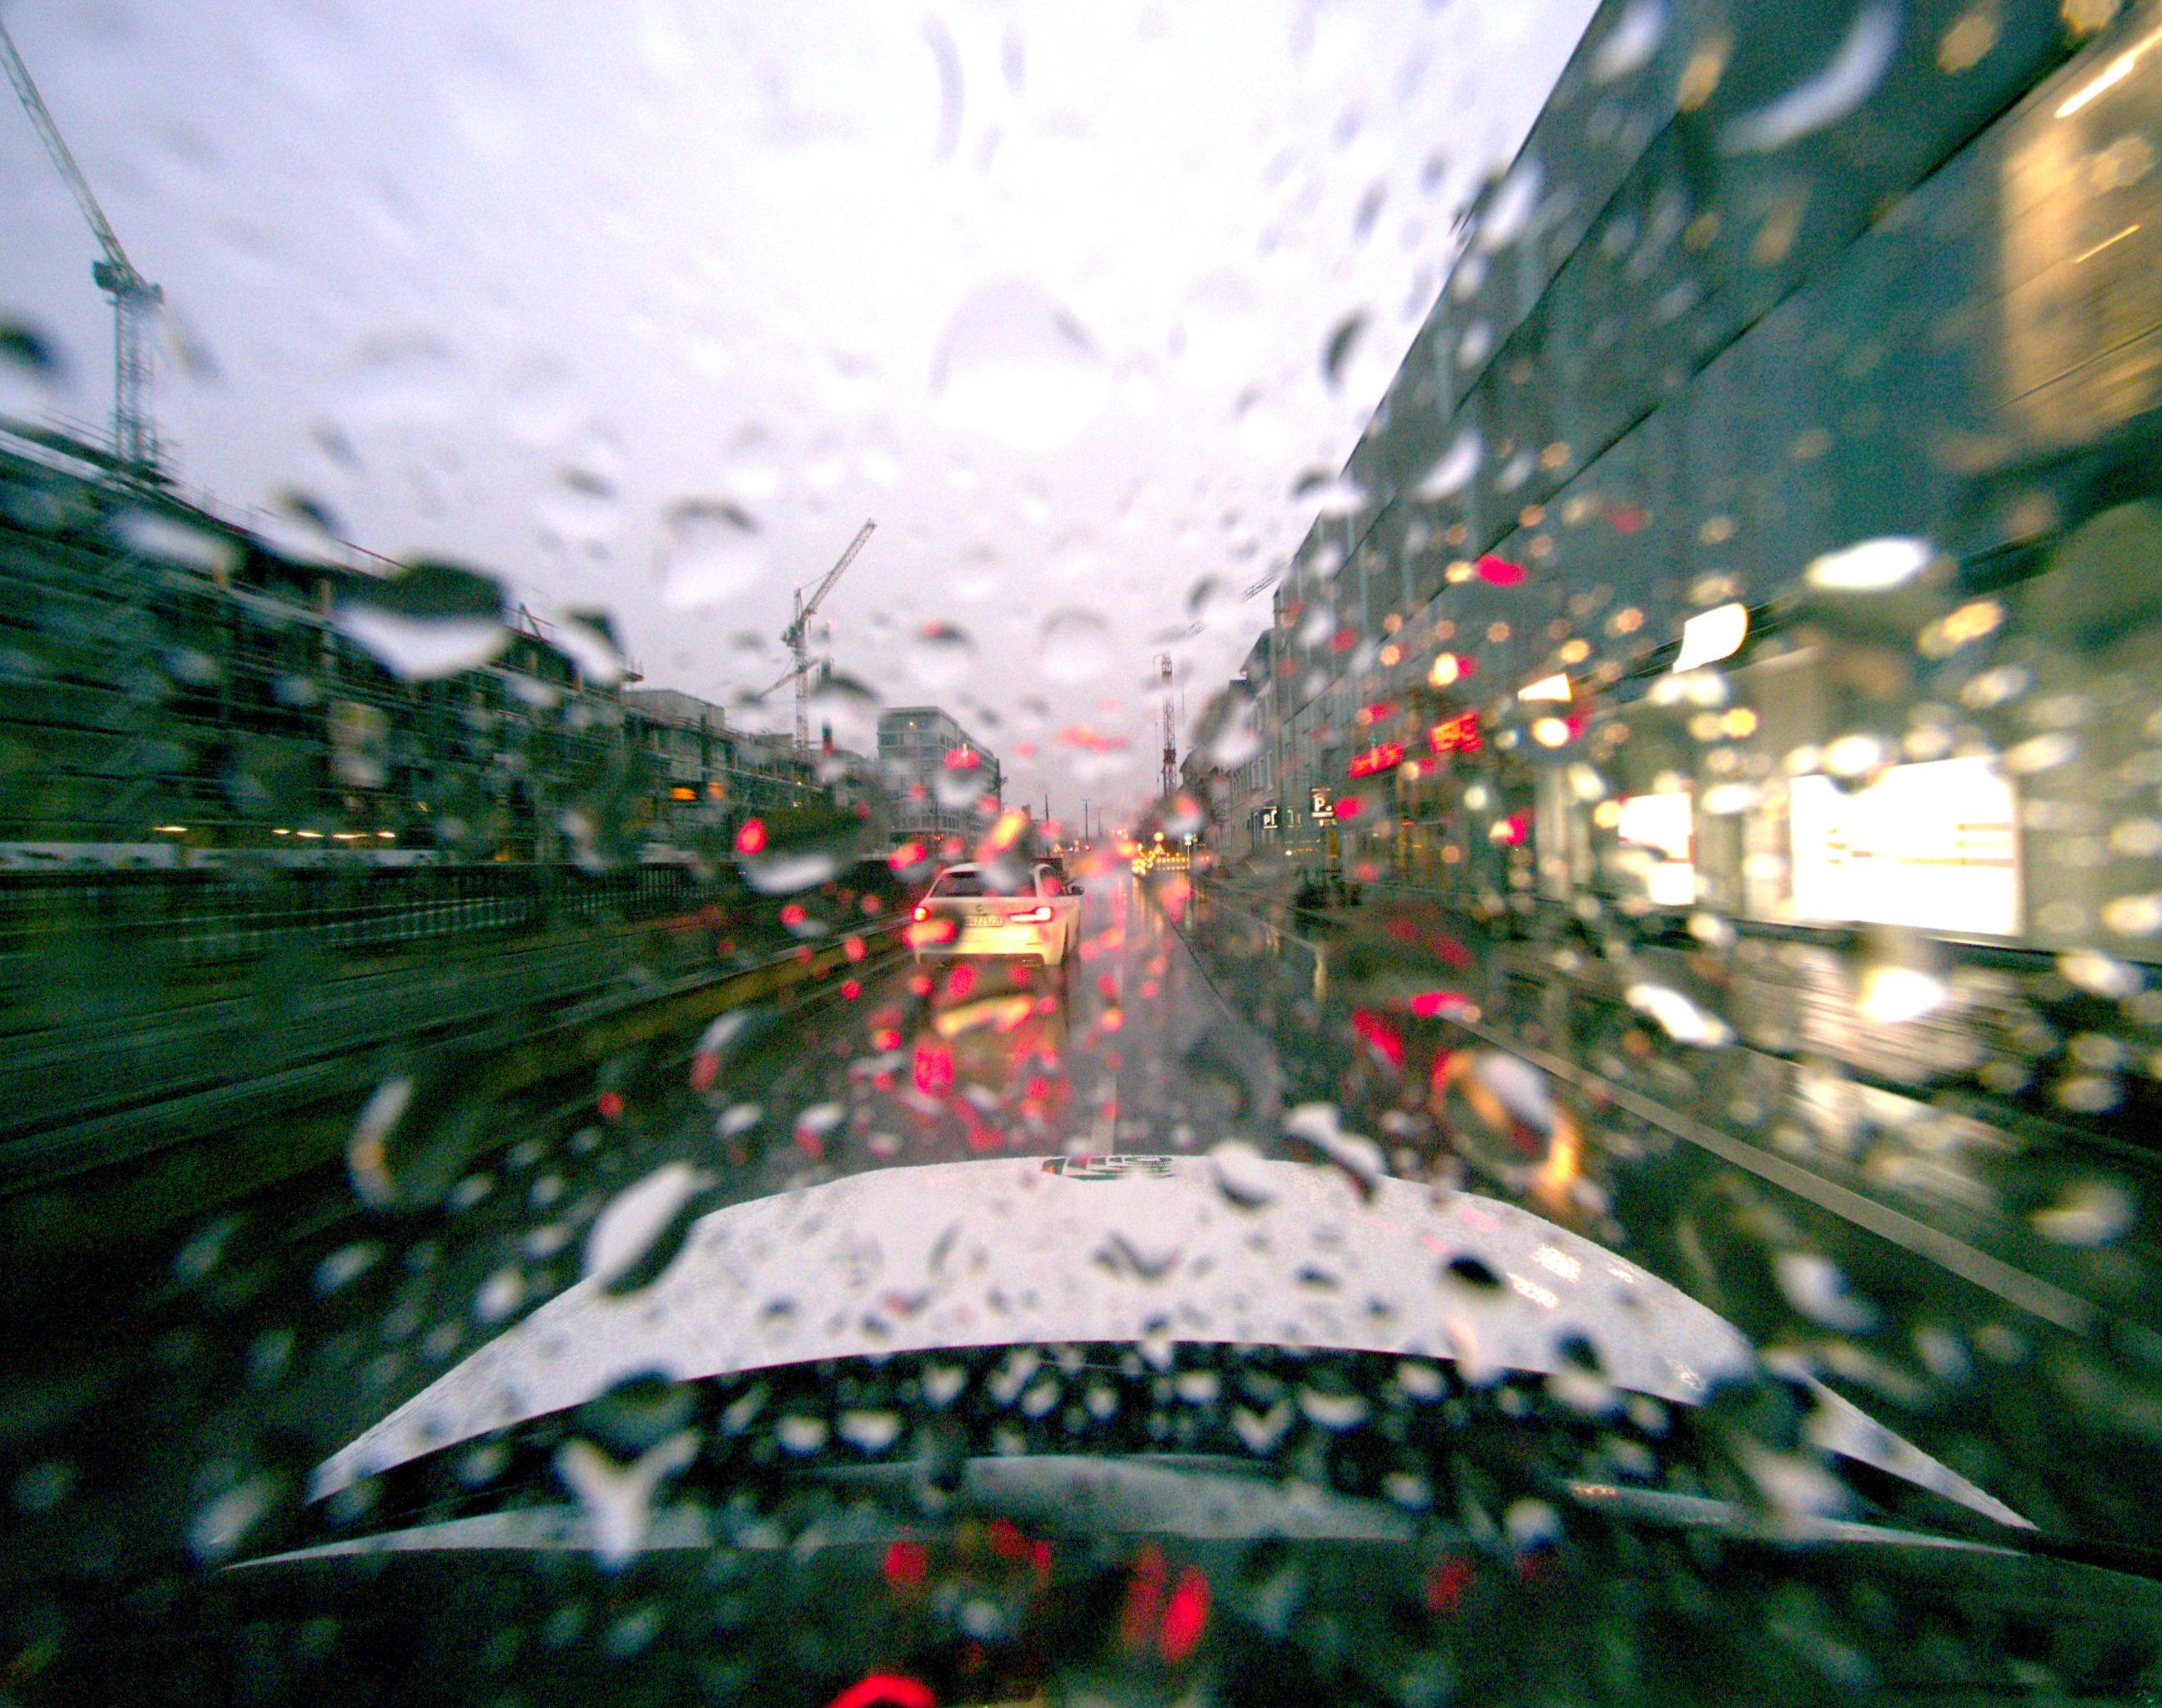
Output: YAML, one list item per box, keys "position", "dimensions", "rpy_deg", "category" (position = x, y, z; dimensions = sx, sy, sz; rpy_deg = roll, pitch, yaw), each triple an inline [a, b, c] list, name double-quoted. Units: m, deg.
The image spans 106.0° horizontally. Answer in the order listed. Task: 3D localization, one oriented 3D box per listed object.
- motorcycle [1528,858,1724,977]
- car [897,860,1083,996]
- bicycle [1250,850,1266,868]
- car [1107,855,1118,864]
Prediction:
- position: [6.638, 0.741, 10.005]
  dimensions: [1.885, 1.333, 0.599]
  rpy_deg: [-3, -2, 43]
  category: "motorcycle"
- position: [-1.014, 0.847, 11.554]
  dimensions: [1.844, 1.465, 4.950]
  rpy_deg: [-1, 0, 3]
  category: "car"
- position: [12.317, 0.363, 56.759]
  dimensions: [0.680, 1.222, 1.906]
  rpy_deg: [-4, -1, 2]
  category: "bicycle"
- position: [5.601, 0.928, 146.233]
  dimensions: [1.893, 1.642, 4.004]
  rpy_deg: [-1, 0, 3]
  category: "car"
